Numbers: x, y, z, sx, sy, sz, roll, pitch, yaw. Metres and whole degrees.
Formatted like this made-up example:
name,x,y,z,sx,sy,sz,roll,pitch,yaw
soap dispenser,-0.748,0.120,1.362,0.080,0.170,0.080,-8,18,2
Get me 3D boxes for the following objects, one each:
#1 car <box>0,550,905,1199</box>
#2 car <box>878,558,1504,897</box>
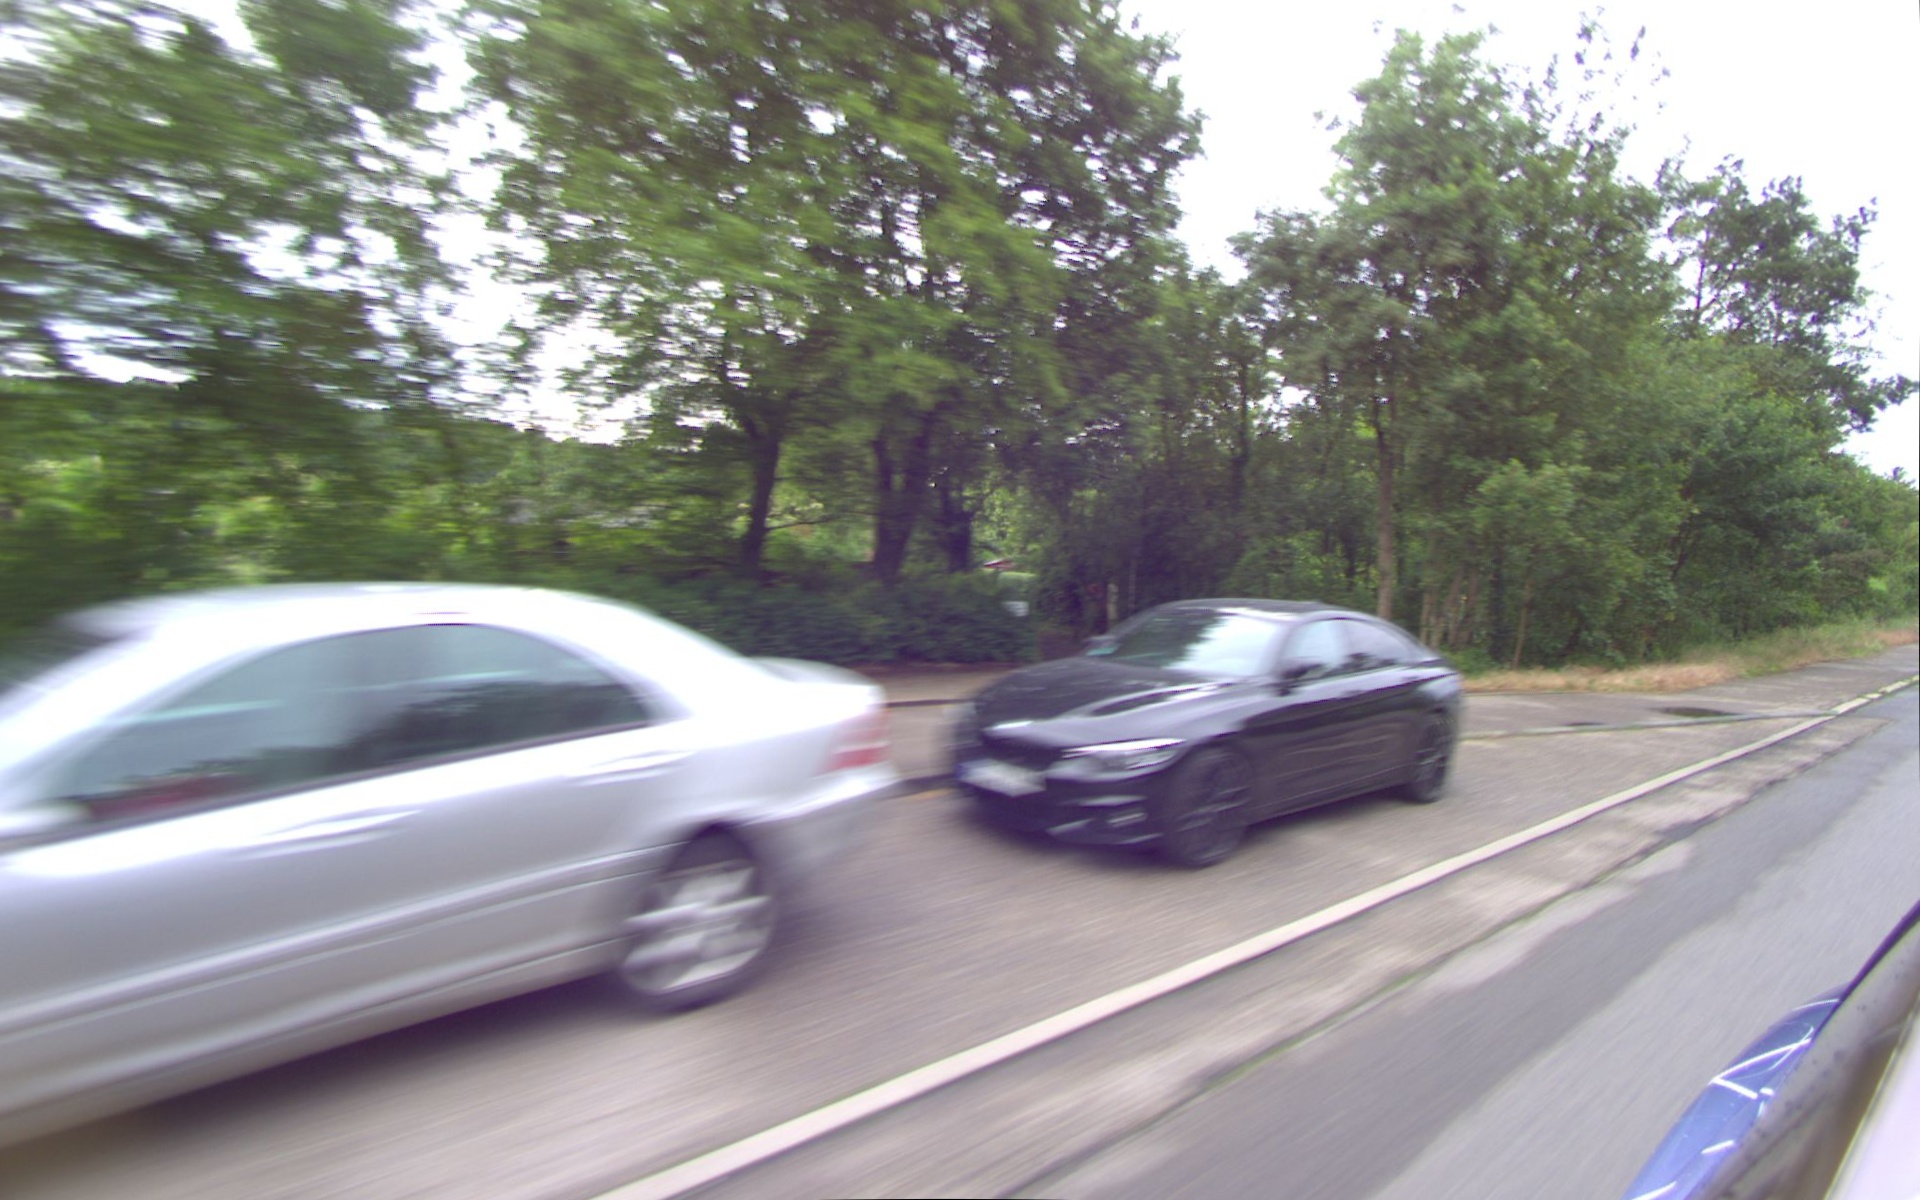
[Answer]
name,x,y,z,sx,sy,sz,roll,pitch,yaw
car,-2.302,0.616,3.227,1.745,1.486,4.153,4,4,44
car,1.832,0.559,6.961,4.586,1.528,1.810,-1,4,-41
